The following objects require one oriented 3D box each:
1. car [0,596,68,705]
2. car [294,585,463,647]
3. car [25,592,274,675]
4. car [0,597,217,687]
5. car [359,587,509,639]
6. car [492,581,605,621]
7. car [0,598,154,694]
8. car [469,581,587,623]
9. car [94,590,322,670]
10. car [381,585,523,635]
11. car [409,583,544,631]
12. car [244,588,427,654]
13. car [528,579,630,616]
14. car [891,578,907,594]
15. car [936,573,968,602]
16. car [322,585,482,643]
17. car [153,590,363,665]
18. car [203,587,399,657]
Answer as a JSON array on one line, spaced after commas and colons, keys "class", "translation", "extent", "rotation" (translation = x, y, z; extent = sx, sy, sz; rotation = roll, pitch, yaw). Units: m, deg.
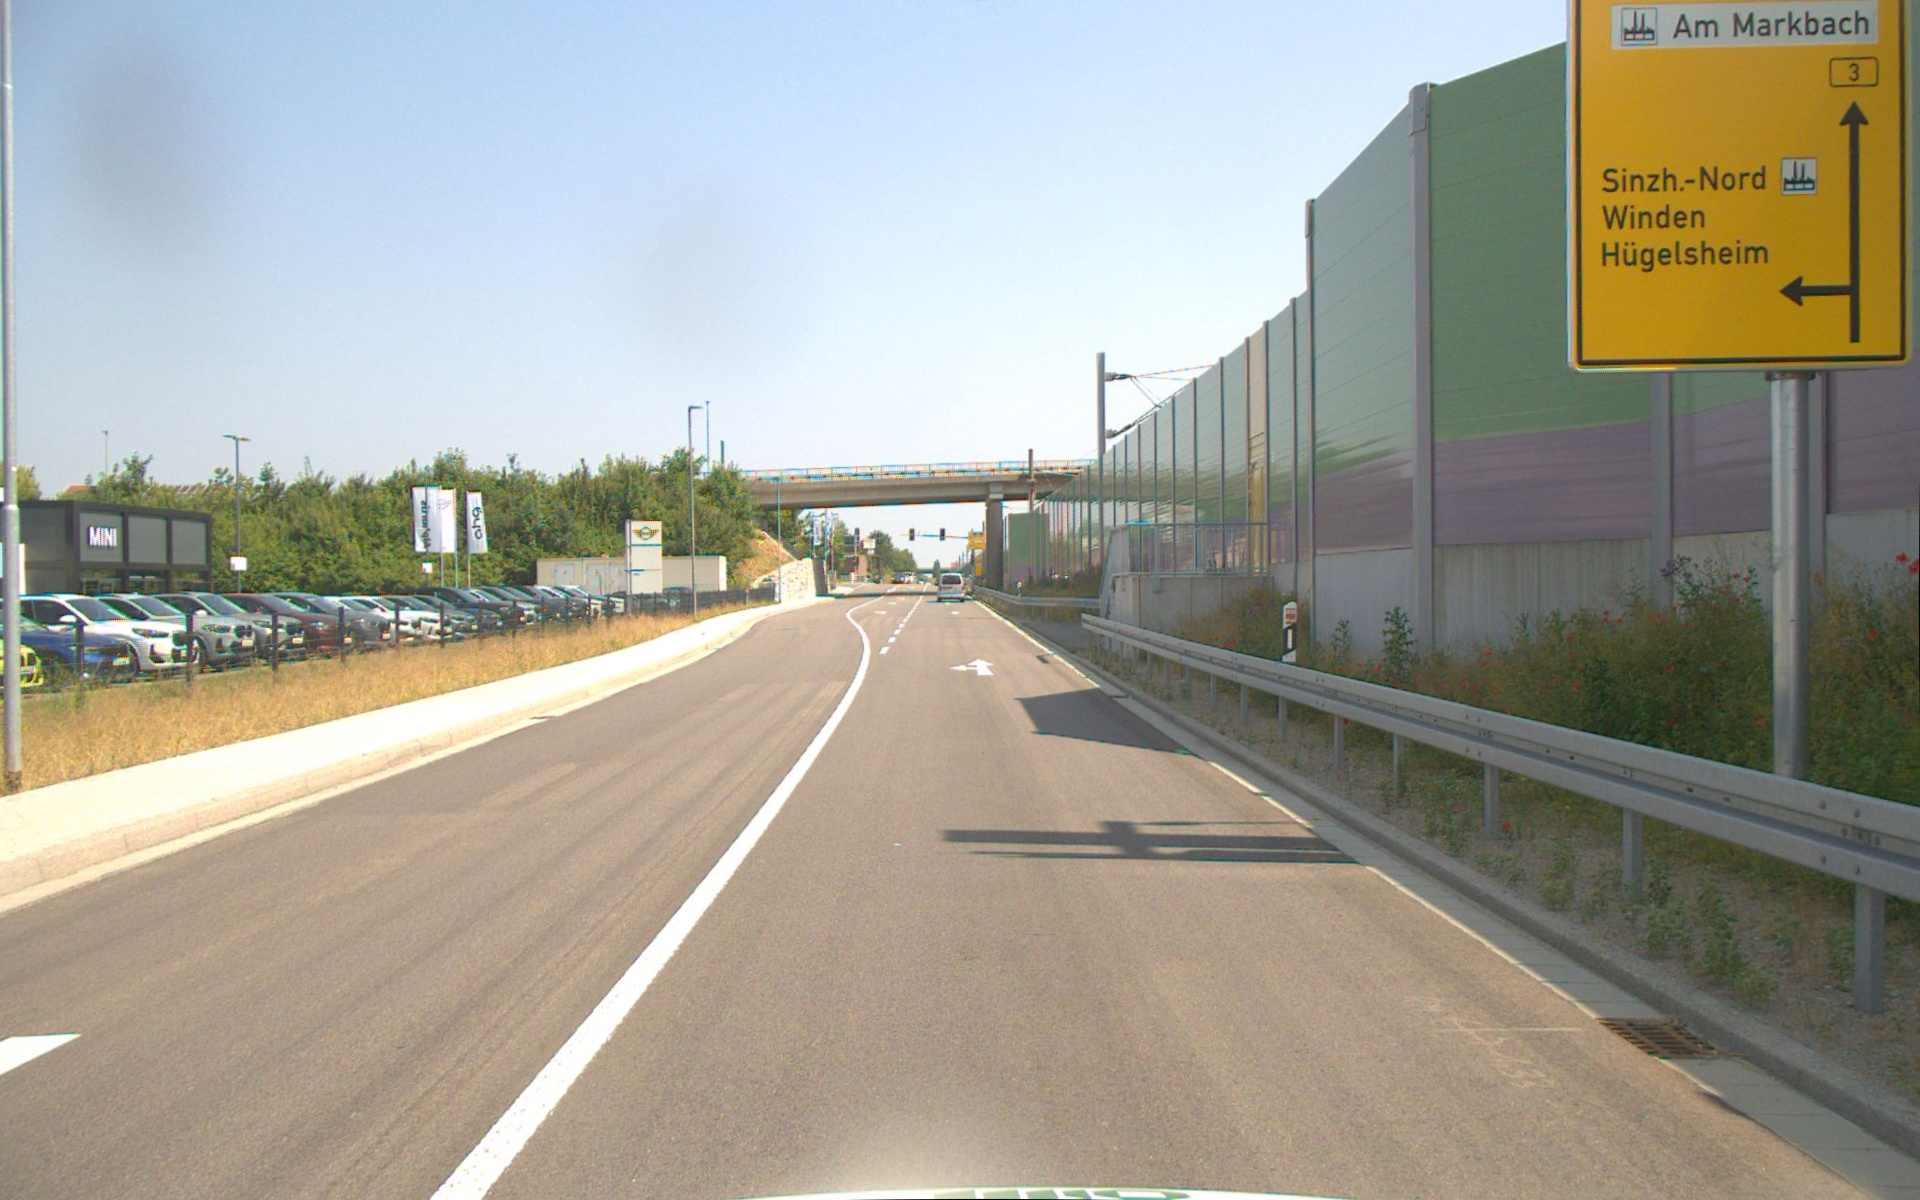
[{"class": "car", "translation": [-16.023, 0.795, 25.126], "extent": [3.906, 1.561, 1.815], "rotation": [-2, 1, -1]}, {"class": "car", "translation": [-16.352, 0.441, 46.632], "extent": [4.079, 1.572, 1.815], "rotation": [-2, 1, -1]}, {"class": "car", "translation": [-16.311, 0.660, 33.426], "extent": [4.079, 1.492, 1.815], "rotation": [-2, 1, -1]}, {"class": "car", "translation": [-16.241, 0.762, 30.652], "extent": [4.079, 1.492, 1.815], "rotation": [-2, 1, -1]}, {"class": "car", "translation": [-16.537, 0.398, 52.137], "extent": [4.079, 1.492, 1.815], "rotation": [-2, 1, -1]}, {"class": "car", "translation": [-16.732, 0.019, 67.383], "extent": [4.079, 1.492, 1.815], "rotation": [-2, 1, -1]}, {"class": "car", "translation": [-16.089, 0.784, 27.869], "extent": [4.079, 1.492, 1.815], "rotation": [-2, 1, -1]}, {"class": "car", "translation": [-16.780, 0.062, 64.417], "extent": [4.079, 1.492, 1.815], "rotation": [-2, 1, -1]}, {"class": "car", "translation": [-16.359, 0.632, 36.111], "extent": [4.079, 1.572, 1.815], "rotation": [-2, 1, -1]}, {"class": "car", "translation": [-16.709, 0.308, 54.585], "extent": [4.079, 1.492, 1.815], "rotation": [-2, 1, -1]}, {"class": "car", "translation": [-16.652, 0.228, 57.057], "extent": [4.079, 1.492, 1.815], "rotation": [-2, 1, -1]}, {"class": "car", "translation": [-16.453, 0.531, 43.701], "extent": [4.079, 1.572, 1.815], "rotation": [-2, 1, -1]}, {"class": "car", "translation": [-16.807, -0.110, 73.100], "extent": [4.079, 1.492, 1.815], "rotation": [-2, 1, -1]}, {"class": "car", "translation": [-7.948, -1.815, 215.553], "extent": [1.953, 1.960, 3.999], "rotation": [-2, 0, -1]}, {"class": "car", "translation": [-0.475, -0.836, 105.576], "extent": [1.952, 1.788, 4.001], "rotation": [-1, 1, 1]}, {"class": "car", "translation": [-16.509, 0.395, 49.049], "extent": [4.079, 1.572, 1.815], "rotation": [-2, 1, -1]}, {"class": "car", "translation": [-16.361, 0.629, 38.673], "extent": [4.079, 1.572, 1.815], "rotation": [-2, 1, -1]}, {"class": "car", "translation": [-16.345, 0.520, 41.159], "extent": [4.079, 1.572, 1.815], "rotation": [-2, 1, -1]}]
